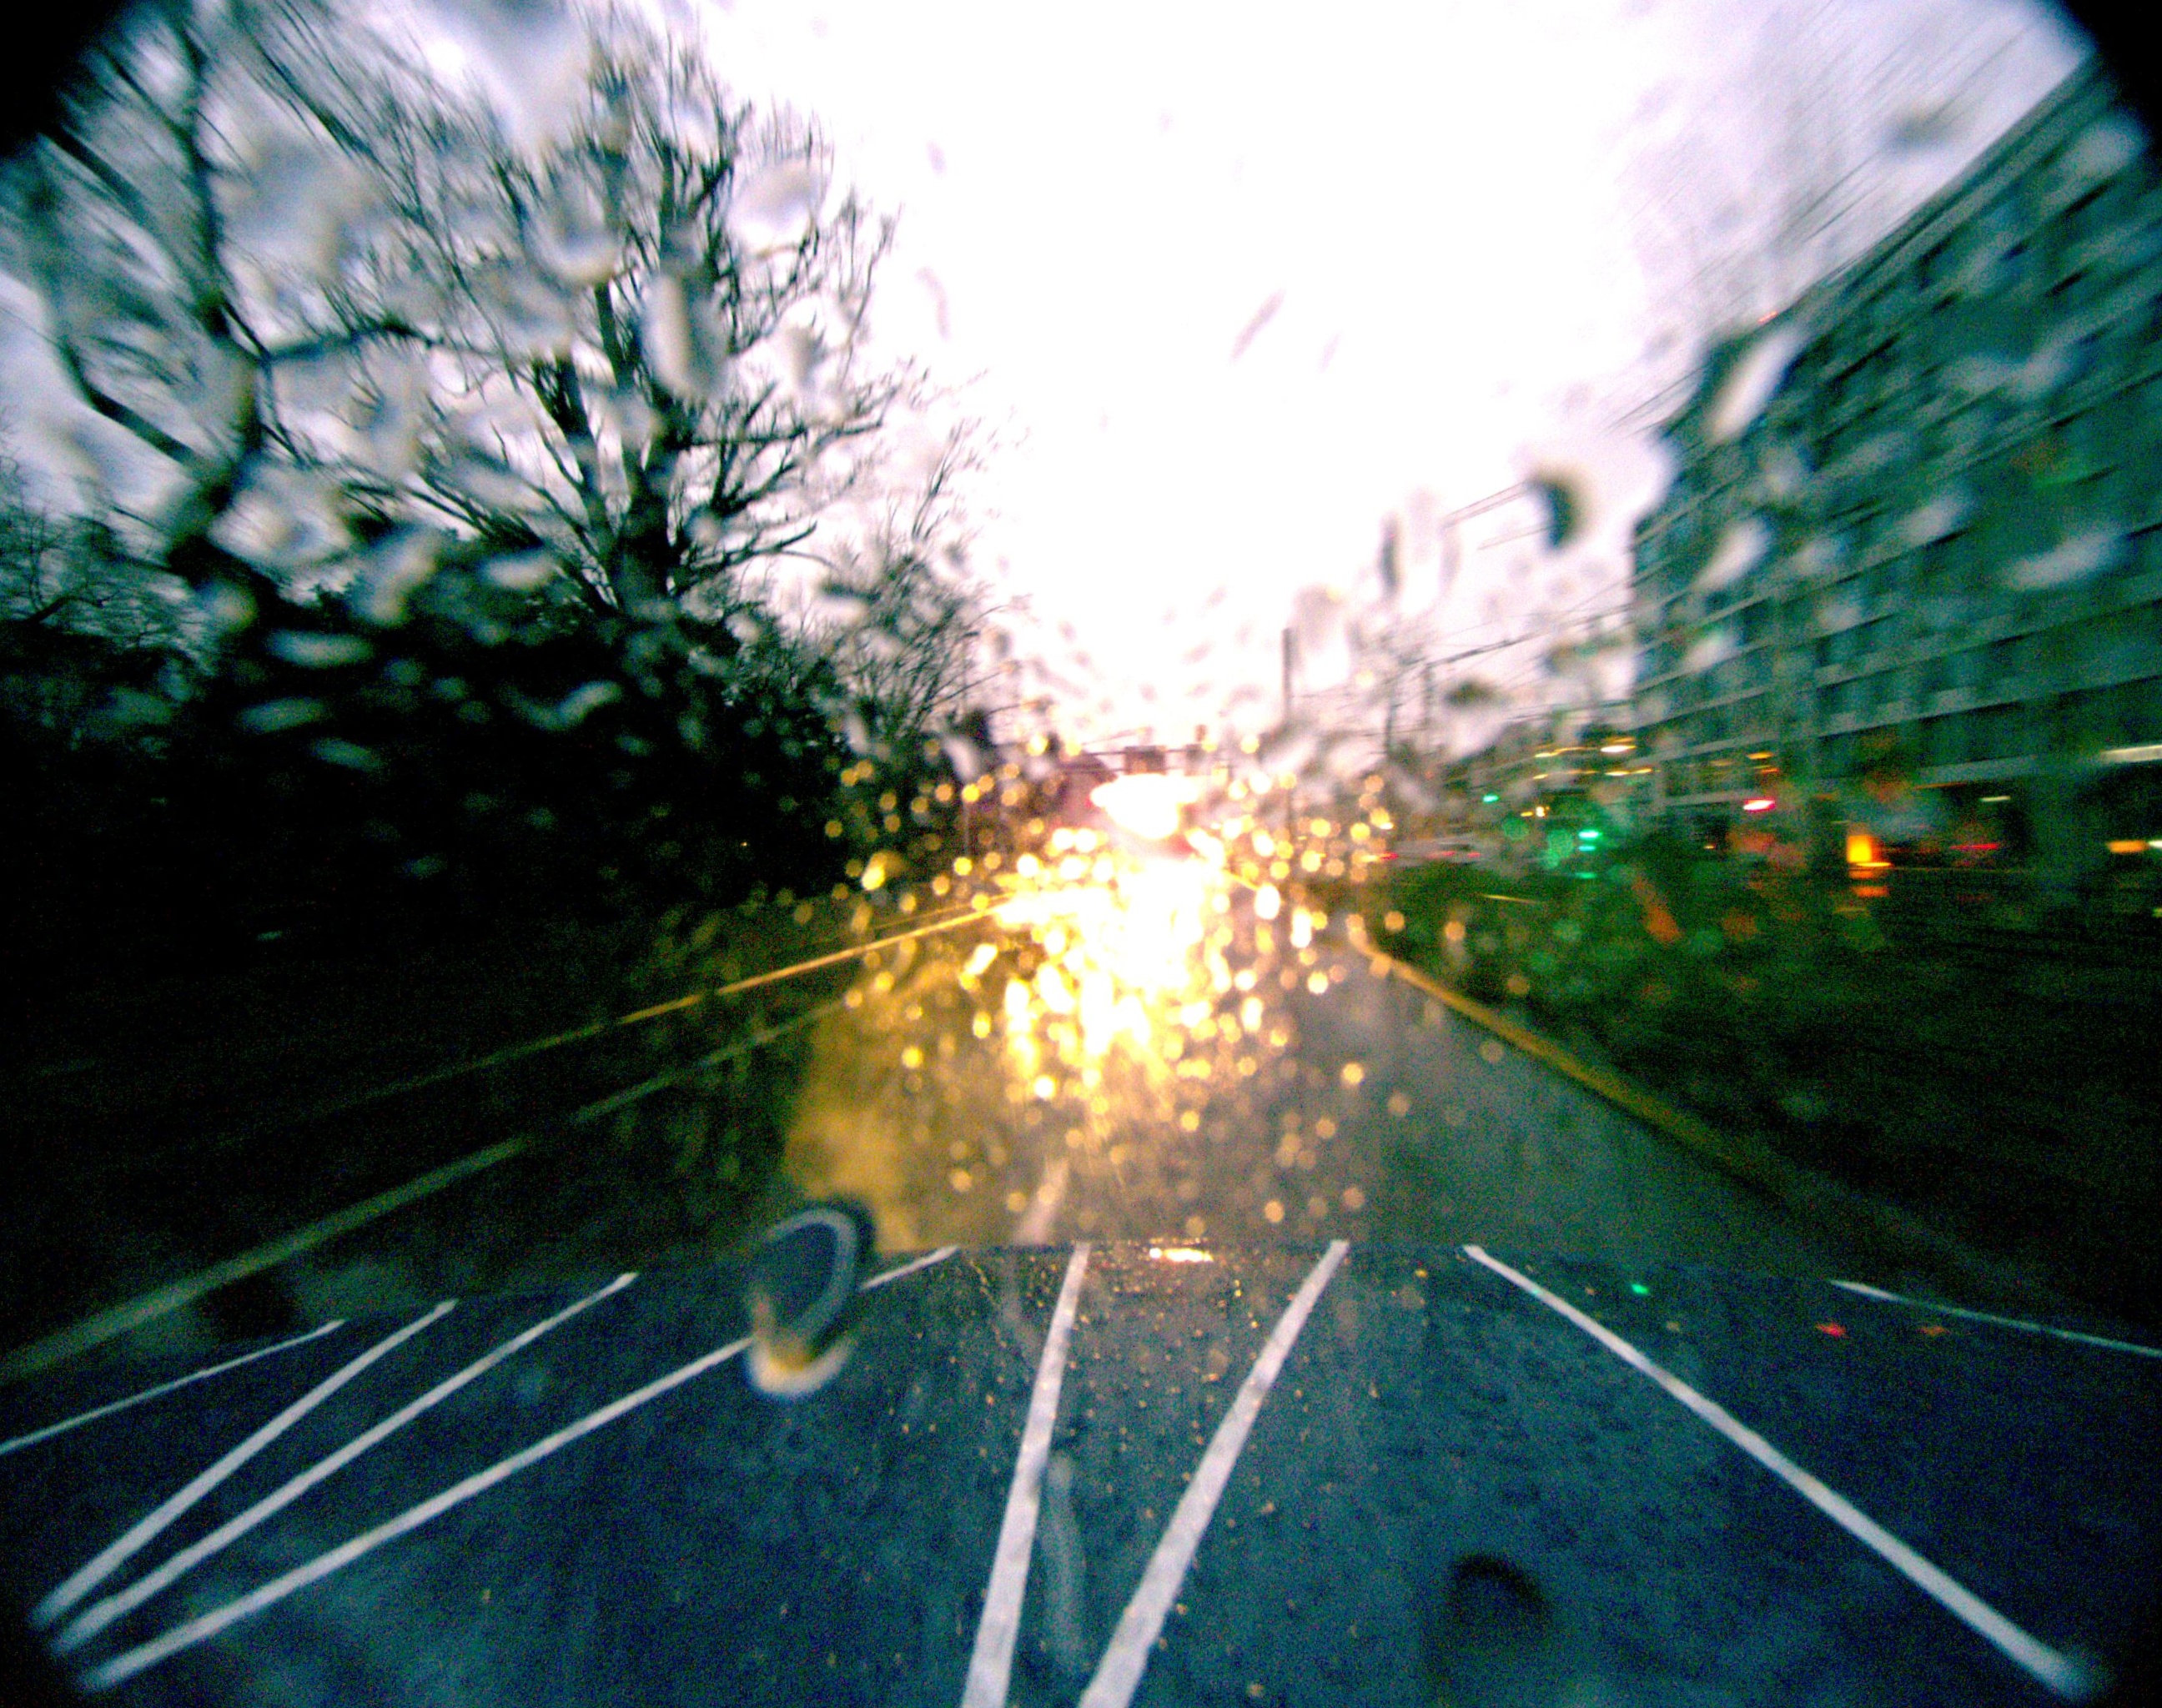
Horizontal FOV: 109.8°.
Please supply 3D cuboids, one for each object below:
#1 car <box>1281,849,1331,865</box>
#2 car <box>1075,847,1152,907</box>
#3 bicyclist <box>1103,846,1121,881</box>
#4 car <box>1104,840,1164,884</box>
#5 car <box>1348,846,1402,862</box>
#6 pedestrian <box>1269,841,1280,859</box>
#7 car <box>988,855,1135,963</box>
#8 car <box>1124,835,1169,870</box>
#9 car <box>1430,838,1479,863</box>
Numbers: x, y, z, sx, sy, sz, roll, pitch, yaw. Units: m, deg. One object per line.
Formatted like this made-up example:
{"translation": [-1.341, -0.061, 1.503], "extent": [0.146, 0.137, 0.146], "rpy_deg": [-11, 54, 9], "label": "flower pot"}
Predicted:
{"translation": [20.939, 0.296, 70.849], "extent": [4.251, 1.392, 2.113], "rpy_deg": [-1, 1, 9], "label": "car"}
{"translation": [1.144, 0.655, 24.124], "extent": [2.072, 1.618, 4.269], "rpy_deg": [-3, 1, 6], "label": "car"}
{"translation": [2.037, 0.600, 49.828], "extent": [0.967, 2.210, 0.935], "rpy_deg": [-3, 1, 6], "label": "bicyclist"}
{"translation": [2.287, 0.259, 31.862], "extent": [2.072, 1.618, 4.270], "rpy_deg": [-3, 1, 9], "label": "car"}
{"translation": [25.356, 0.006, 65.618], "extent": [1.820, 1.300, 3.990], "rpy_deg": [-1, 1, -32], "label": "car"}
{"translation": [19.253, -0.410, 75.658], "extent": [0.768, 1.794, 0.711], "rpy_deg": [-2, 1, 36], "label": "pedestrian"}
{"translation": [-0.153, 0.836, 13.499], "extent": [1.885, 1.552, 4.173], "rpy_deg": [-1, 1, 9], "label": "car"}
{"translation": [3.431, -0.109, 39.229], "extent": [1.997, 1.618, 4.270], "rpy_deg": [-3, 0, 8], "label": "car"}
{"translation": [26.682, -0.250, 54.492], "extent": [2.084, 1.659, 5.048], "rpy_deg": [-1, 1, 13], "label": "car"}
